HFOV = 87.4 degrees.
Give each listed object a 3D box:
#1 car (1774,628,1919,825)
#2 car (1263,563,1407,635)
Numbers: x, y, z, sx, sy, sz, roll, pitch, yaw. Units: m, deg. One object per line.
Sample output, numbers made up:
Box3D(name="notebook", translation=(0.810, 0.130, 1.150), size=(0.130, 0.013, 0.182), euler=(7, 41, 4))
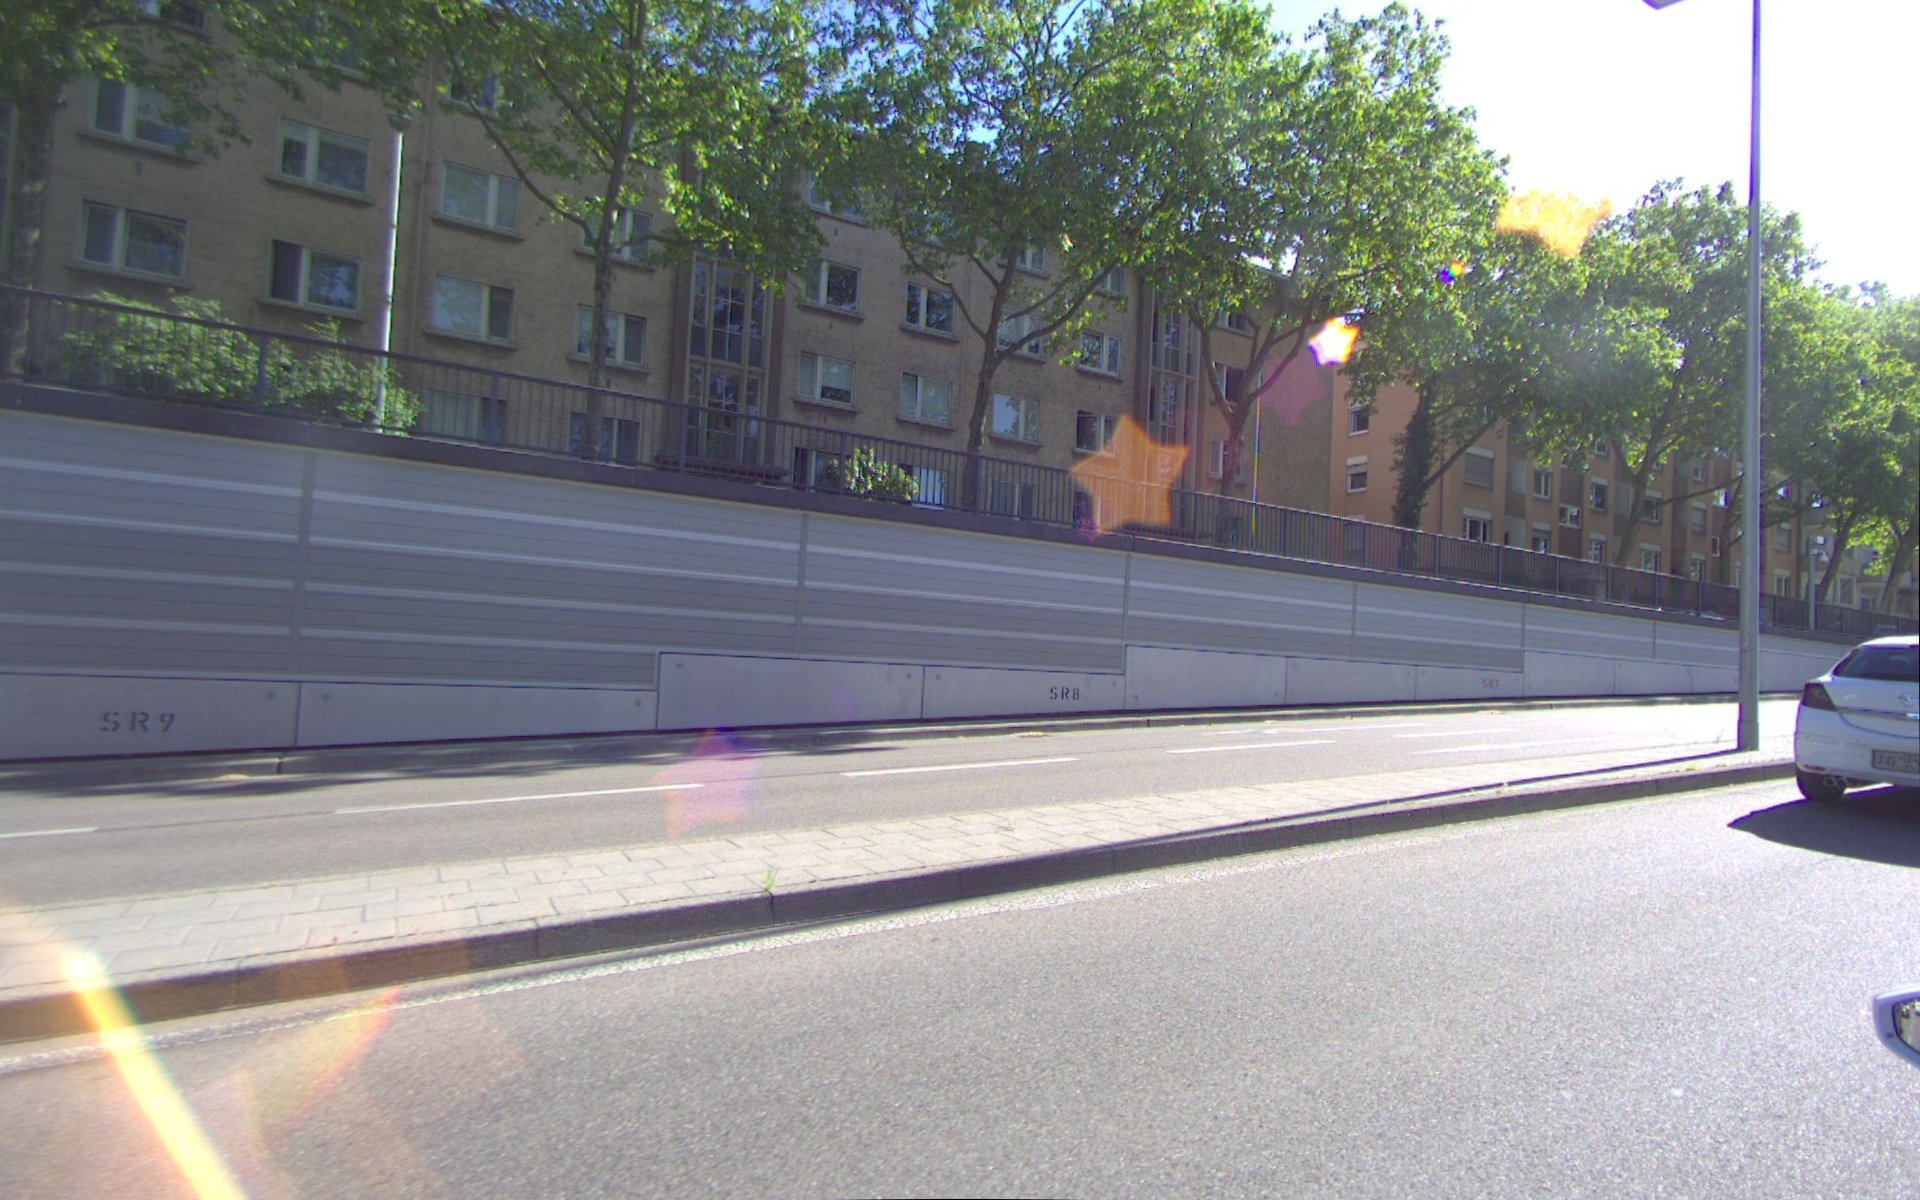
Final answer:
Box3D(name="car", translation=(8.681, 1.022, 8.460), size=(3.807, 1.422, 1.611), euler=(3, -1, -31))
Box3D(name="car", translation=(11.993, -0.003, 32.058), size=(4.363, 1.986, 1.956), euler=(4, -2, -30))
